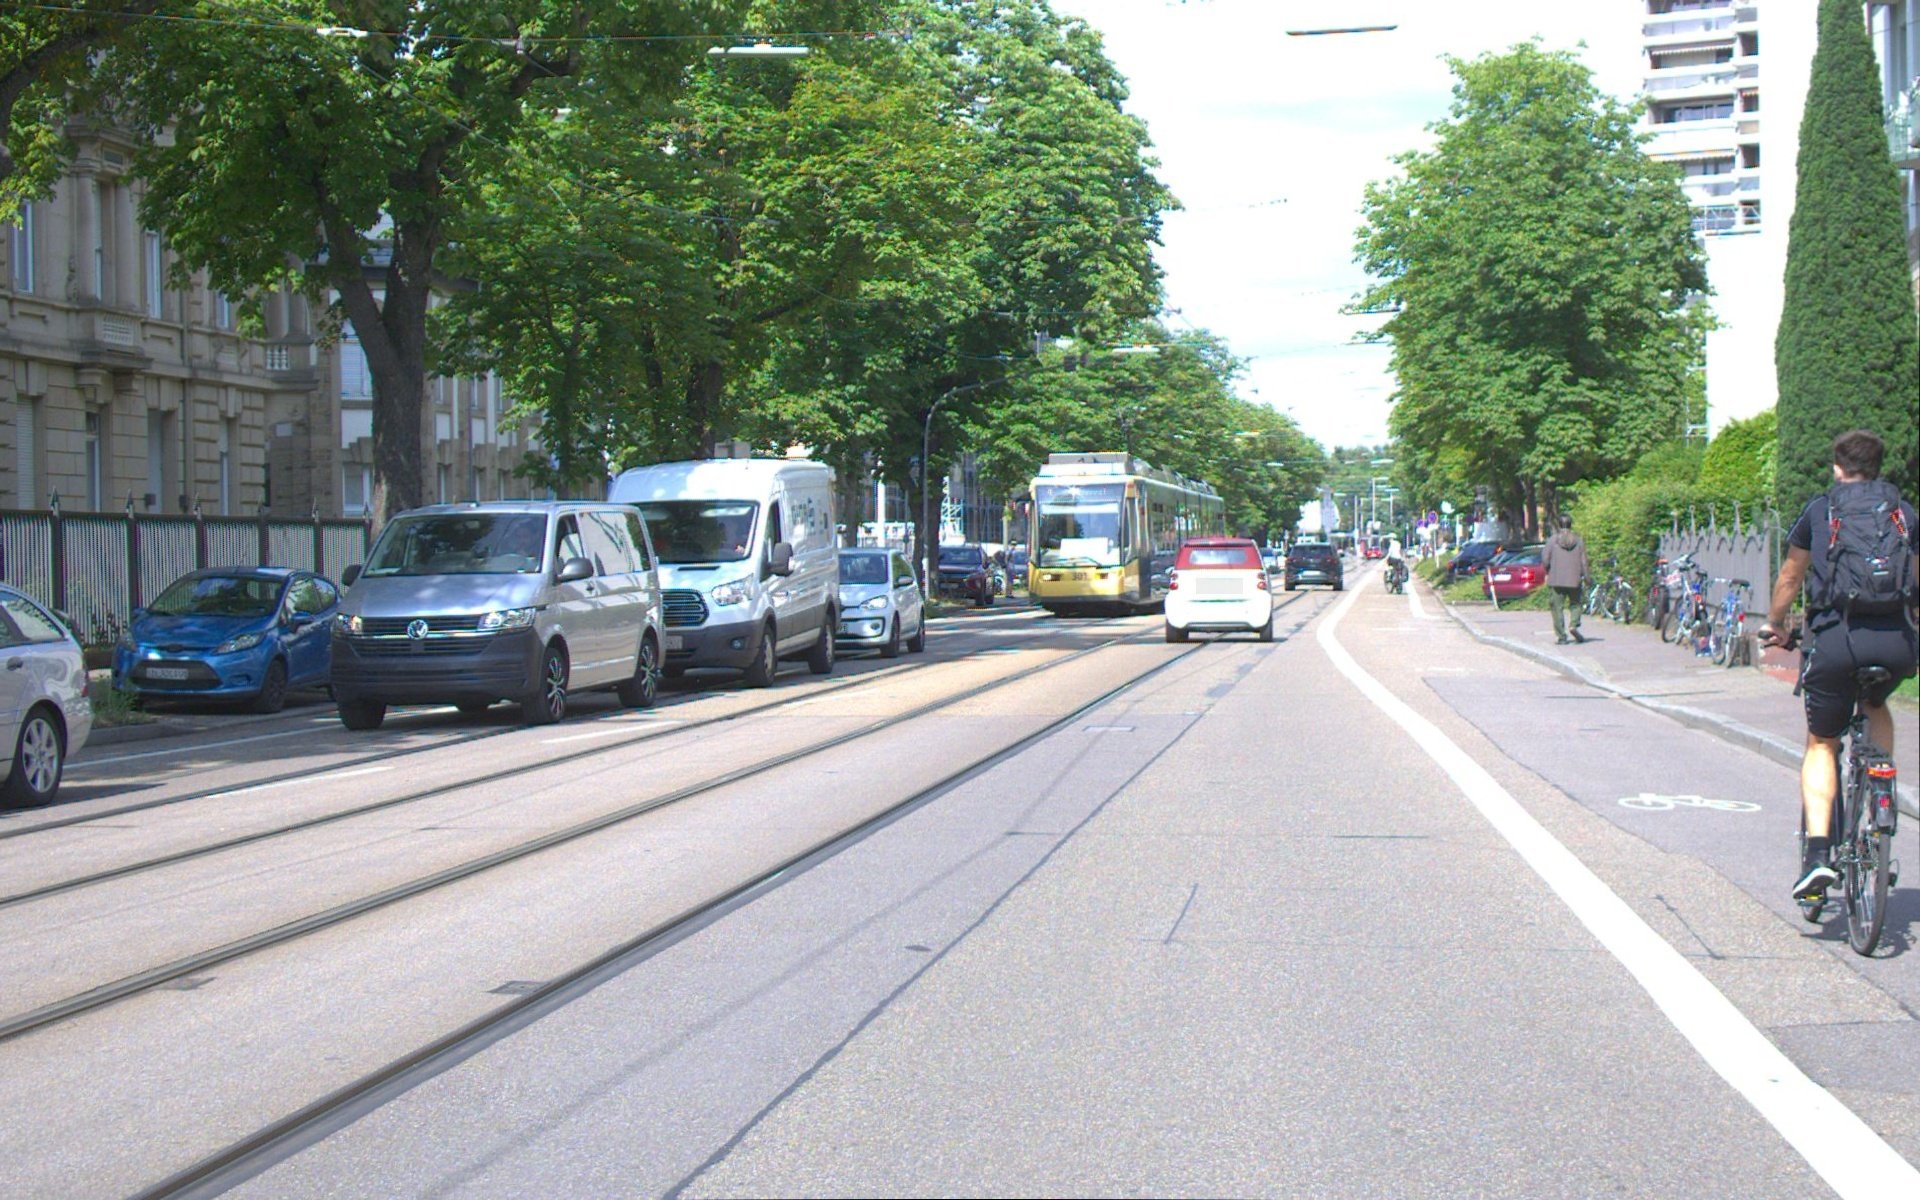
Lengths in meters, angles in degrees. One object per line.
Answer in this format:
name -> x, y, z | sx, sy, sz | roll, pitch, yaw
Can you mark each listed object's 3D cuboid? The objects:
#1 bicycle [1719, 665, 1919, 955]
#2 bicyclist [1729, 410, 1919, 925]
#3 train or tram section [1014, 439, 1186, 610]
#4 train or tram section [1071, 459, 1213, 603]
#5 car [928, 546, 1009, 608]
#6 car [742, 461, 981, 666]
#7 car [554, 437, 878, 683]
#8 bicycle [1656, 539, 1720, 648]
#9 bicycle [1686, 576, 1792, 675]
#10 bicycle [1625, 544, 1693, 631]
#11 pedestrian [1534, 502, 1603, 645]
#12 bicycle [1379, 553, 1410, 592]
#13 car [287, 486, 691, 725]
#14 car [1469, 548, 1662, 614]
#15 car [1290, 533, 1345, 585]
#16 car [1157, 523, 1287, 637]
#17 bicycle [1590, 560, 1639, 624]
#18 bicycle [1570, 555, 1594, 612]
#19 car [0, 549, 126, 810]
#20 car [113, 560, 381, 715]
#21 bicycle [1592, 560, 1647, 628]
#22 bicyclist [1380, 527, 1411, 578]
bicycle -> 3.455, 0.801, 13.669 | 0.616, 1.041, 1.835 | -4, -2, 7
bicyclist -> 3.433, 0.250, 13.620 | 0.607, 1.941, 1.130 | 1, 0, 7
train or tram section -> 3.299, -1.601, 77.427 | 2.653, 3.425, 12.311 | -2, 0, 7
train or tram section -> 4.829, -1.691, 89.119 | 2.653, 3.377, 11.469 | -2, 0, 7
car -> 0.263, -0.641, 96.346 | 1.751, 1.660, 4.720 | 1, 0, 6
car -> -1.199, -0.493, 45.675 | 2.316, 2.499, 6.362 | -1, 1, 6
car -> -2.584, -0.489, 38.458 | 2.316, 2.499, 6.362 | -1, 1, 8
bicycle -> 8.725, -0.091, 41.262 | 0.451, 1.256, 1.844 | -3, 1, 4
bicycle -> 8.410, 0.256, 37.215 | 0.599, 0.958, 3.066 | -4, 1, 4
bicycle -> 10.113, -0.186, 49.810 | 0.740, 1.227, 2.515 | -1, 0, 7
pedestrian -> 7.986, -0.344, 45.125 | 0.787, 1.855, 0.580 | 0, 0, 1
bicycle -> 13.055, -0.828, 103.241 | 0.875, 1.122, 2.135 | -1, 1, 8
car -> -4.097, 0.016, 30.922 | 1.987, 1.956, 5.177 | -1, 1, 11
car -> 13.672, -0.431, 77.547 | 4.147, 1.418, 1.866 | -1, 0, -35
car -> 11.505, -1.335, 110.375 | 1.666, 1.619, 3.620 | -1, 1, 7
car -> 3.982, -0.297, 51.760 | 1.666, 1.619, 3.619 | 1, 0, 9
bicycle -> 10.590, -0.133, 55.667 | 0.612, 0.985, 1.872 | -3, 0, 7
bicycle -> 12.280, -0.328, 67.891 | 0.279, 1.105, 2.010 | -4, 0, 7
car -> -6.511, 0.525, 19.380 | 1.693, 1.475, 4.480 | -3, 1, 12
car -> -7.459, 0.361, 36.328 | 1.549, 1.514, 4.084 | 1, 0, 7
bicycle -> 10.216, -0.095, 53.297 | 0.611, 0.992, 2.362 | -3, 0, 7
bicyclist -> 13.087, -1.434, 103.397 | 0.890, 1.523, 1.085 | -1, 1, 9
